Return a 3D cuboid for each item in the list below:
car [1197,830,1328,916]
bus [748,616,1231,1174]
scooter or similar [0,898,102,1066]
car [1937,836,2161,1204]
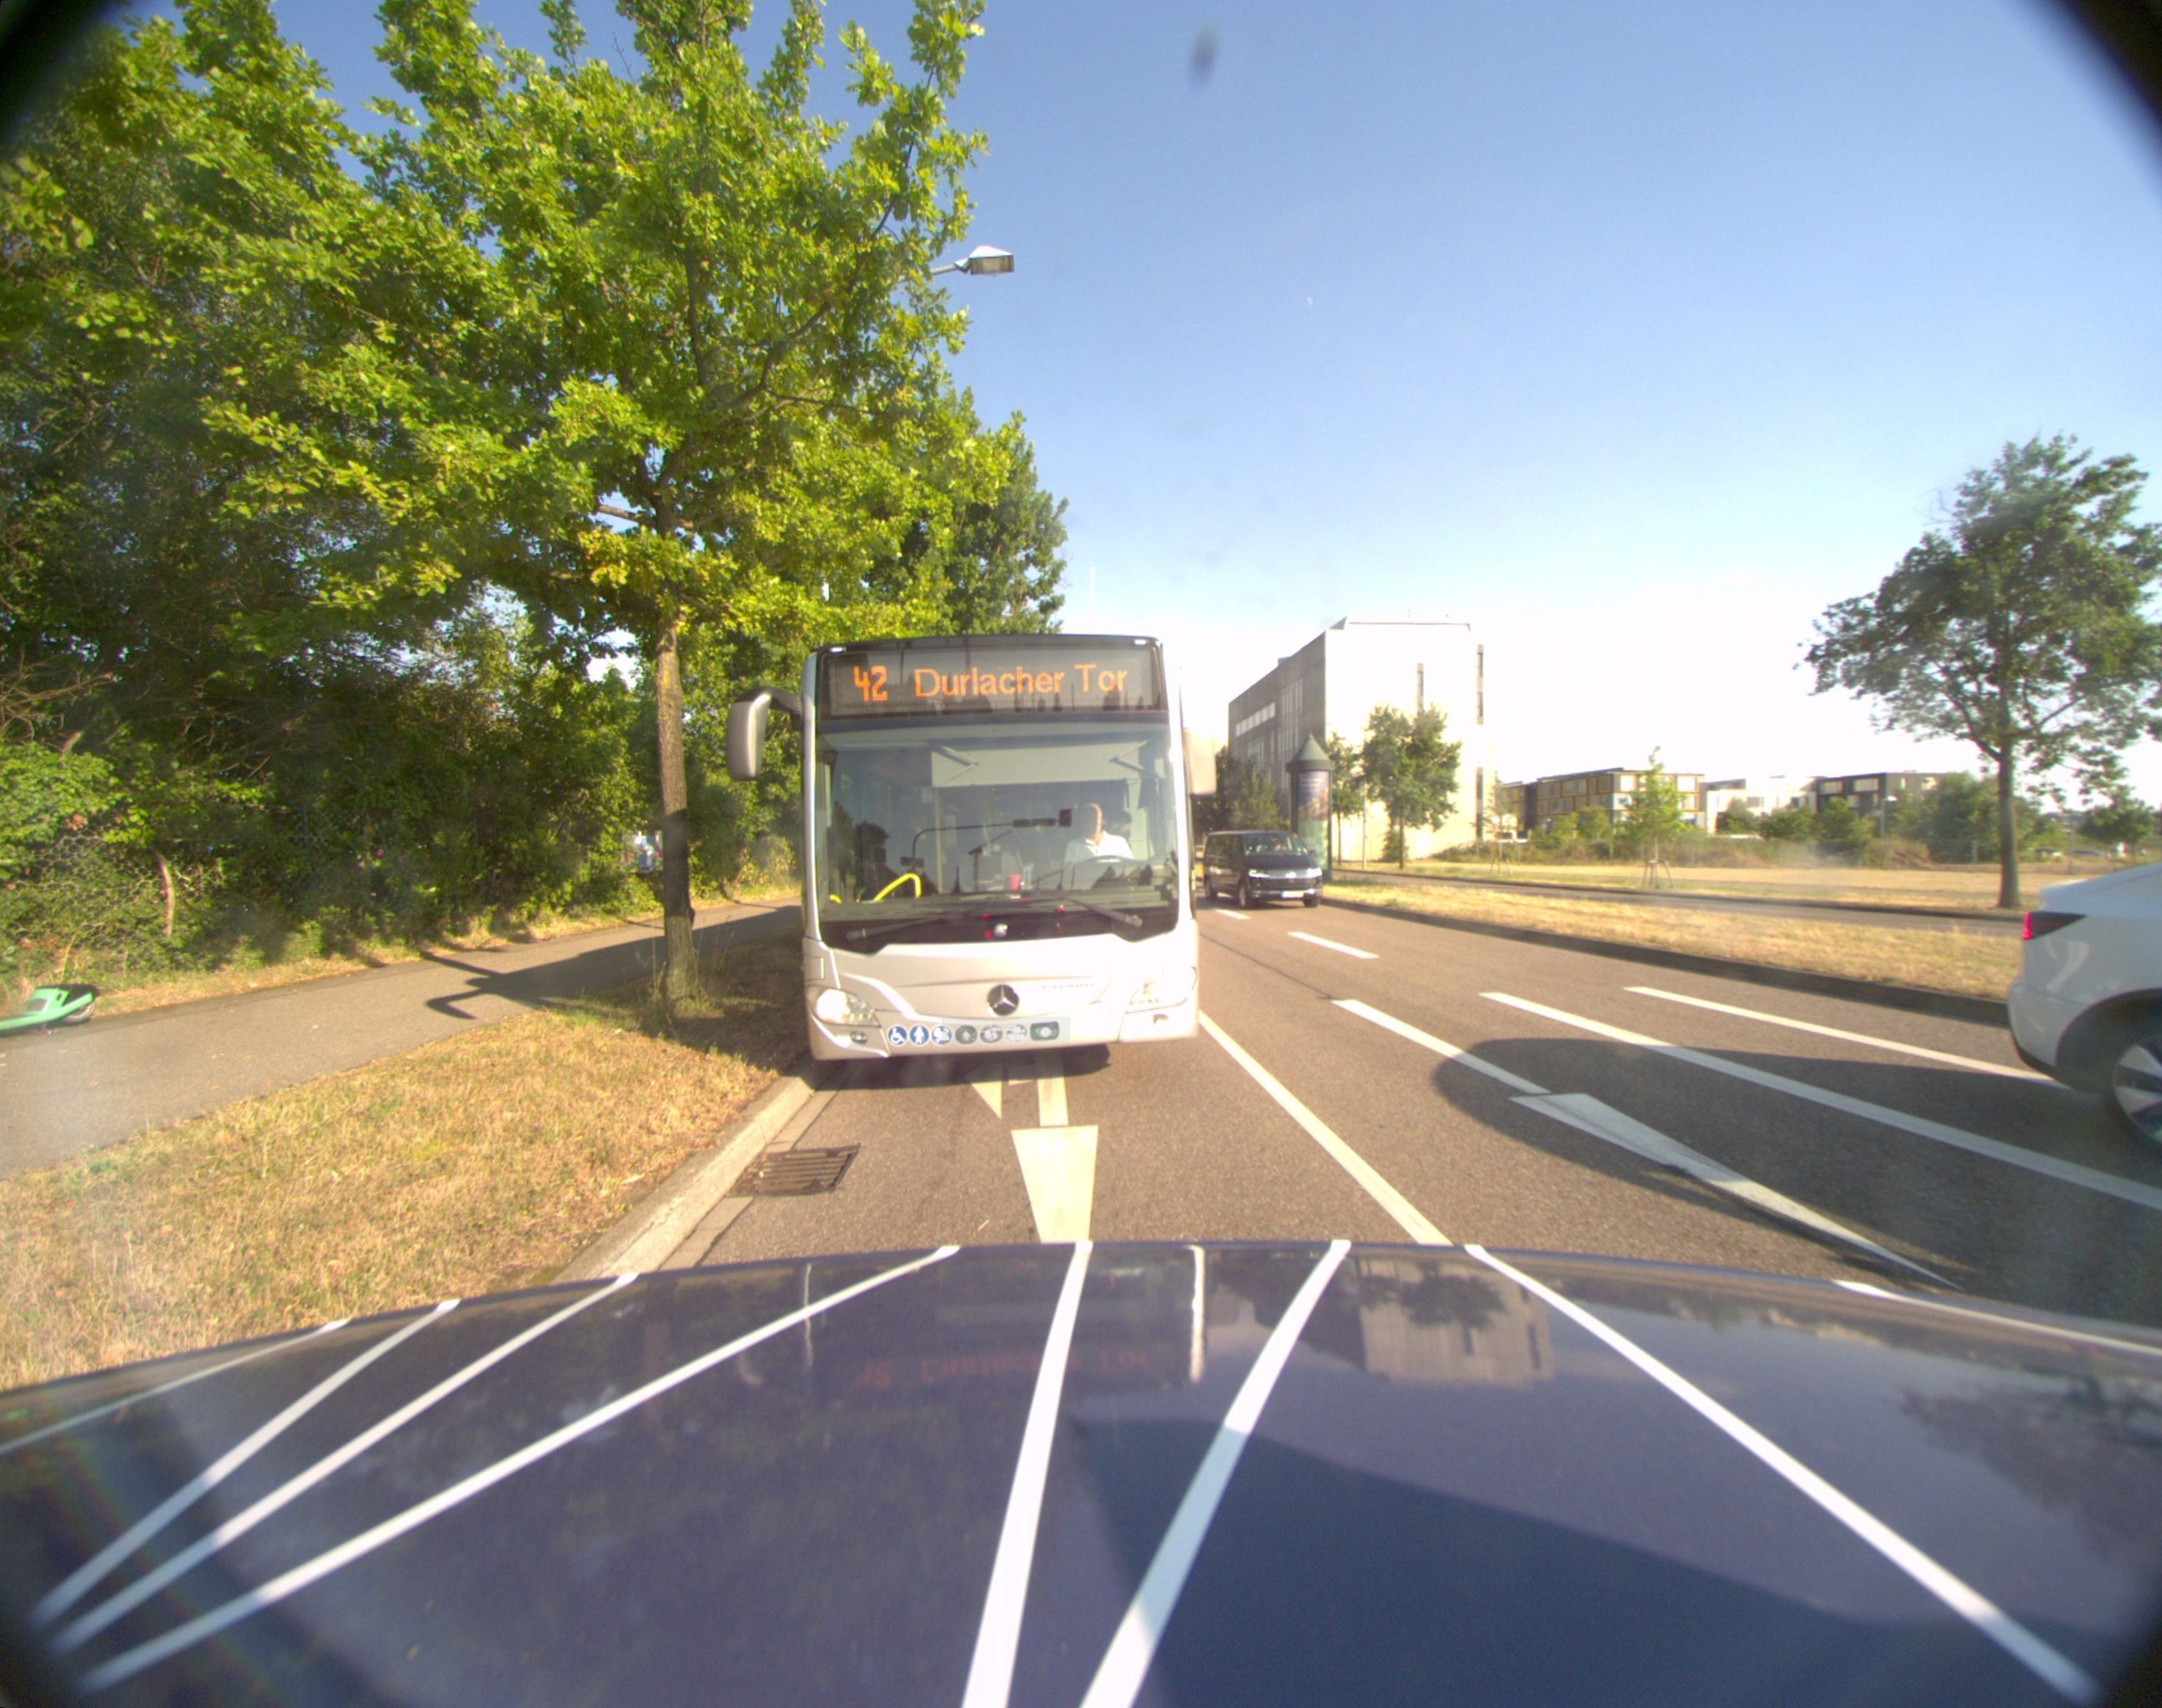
[{"bbox_3d":[4.581,0.402,20.024,1.861,1.921,5.010,-2,1,-4],"label":"car"},{"bbox_3d":[-0.941,0.178,10.065,2.596,3.025,11.713,-1,0,-5],"label":"bus"},{"bbox_3d":[-7.566,0.902,5.215,0.249,1.120,1.095,2,1,1],"label":"scooter or similar"},{"bbox_3d":[5.669,0.716,1.848,1.740,1.590,4.675,-2,0,-4],"label":"car"}]
